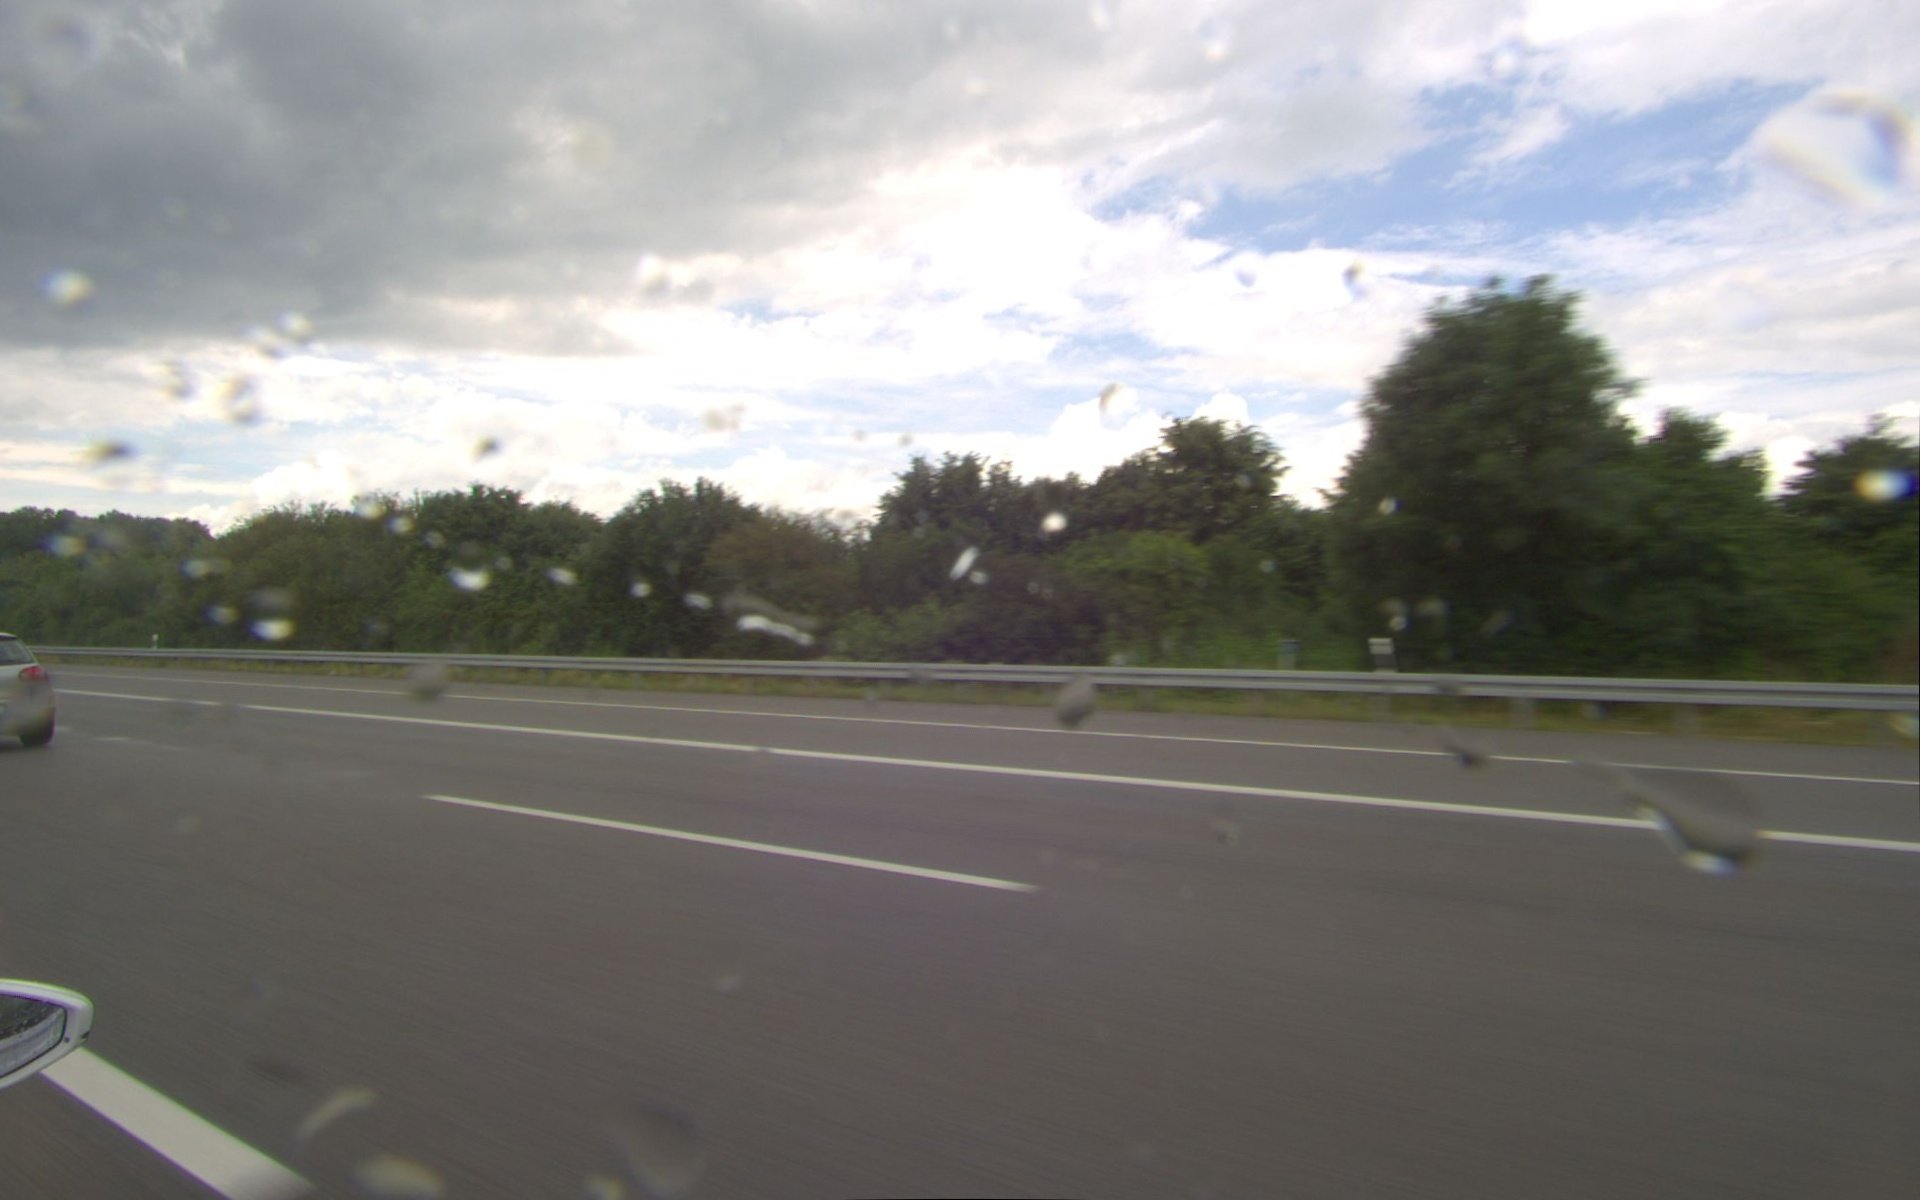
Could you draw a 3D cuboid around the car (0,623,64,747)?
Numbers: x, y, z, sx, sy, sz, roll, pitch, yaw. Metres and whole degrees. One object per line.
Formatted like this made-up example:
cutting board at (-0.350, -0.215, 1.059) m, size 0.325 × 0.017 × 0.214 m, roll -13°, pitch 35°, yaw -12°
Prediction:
car at (-13.472, 1.052, 12.966) m, size 3.980 × 1.496 × 1.792 m, roll -1°, pitch -1°, yaw 32°
